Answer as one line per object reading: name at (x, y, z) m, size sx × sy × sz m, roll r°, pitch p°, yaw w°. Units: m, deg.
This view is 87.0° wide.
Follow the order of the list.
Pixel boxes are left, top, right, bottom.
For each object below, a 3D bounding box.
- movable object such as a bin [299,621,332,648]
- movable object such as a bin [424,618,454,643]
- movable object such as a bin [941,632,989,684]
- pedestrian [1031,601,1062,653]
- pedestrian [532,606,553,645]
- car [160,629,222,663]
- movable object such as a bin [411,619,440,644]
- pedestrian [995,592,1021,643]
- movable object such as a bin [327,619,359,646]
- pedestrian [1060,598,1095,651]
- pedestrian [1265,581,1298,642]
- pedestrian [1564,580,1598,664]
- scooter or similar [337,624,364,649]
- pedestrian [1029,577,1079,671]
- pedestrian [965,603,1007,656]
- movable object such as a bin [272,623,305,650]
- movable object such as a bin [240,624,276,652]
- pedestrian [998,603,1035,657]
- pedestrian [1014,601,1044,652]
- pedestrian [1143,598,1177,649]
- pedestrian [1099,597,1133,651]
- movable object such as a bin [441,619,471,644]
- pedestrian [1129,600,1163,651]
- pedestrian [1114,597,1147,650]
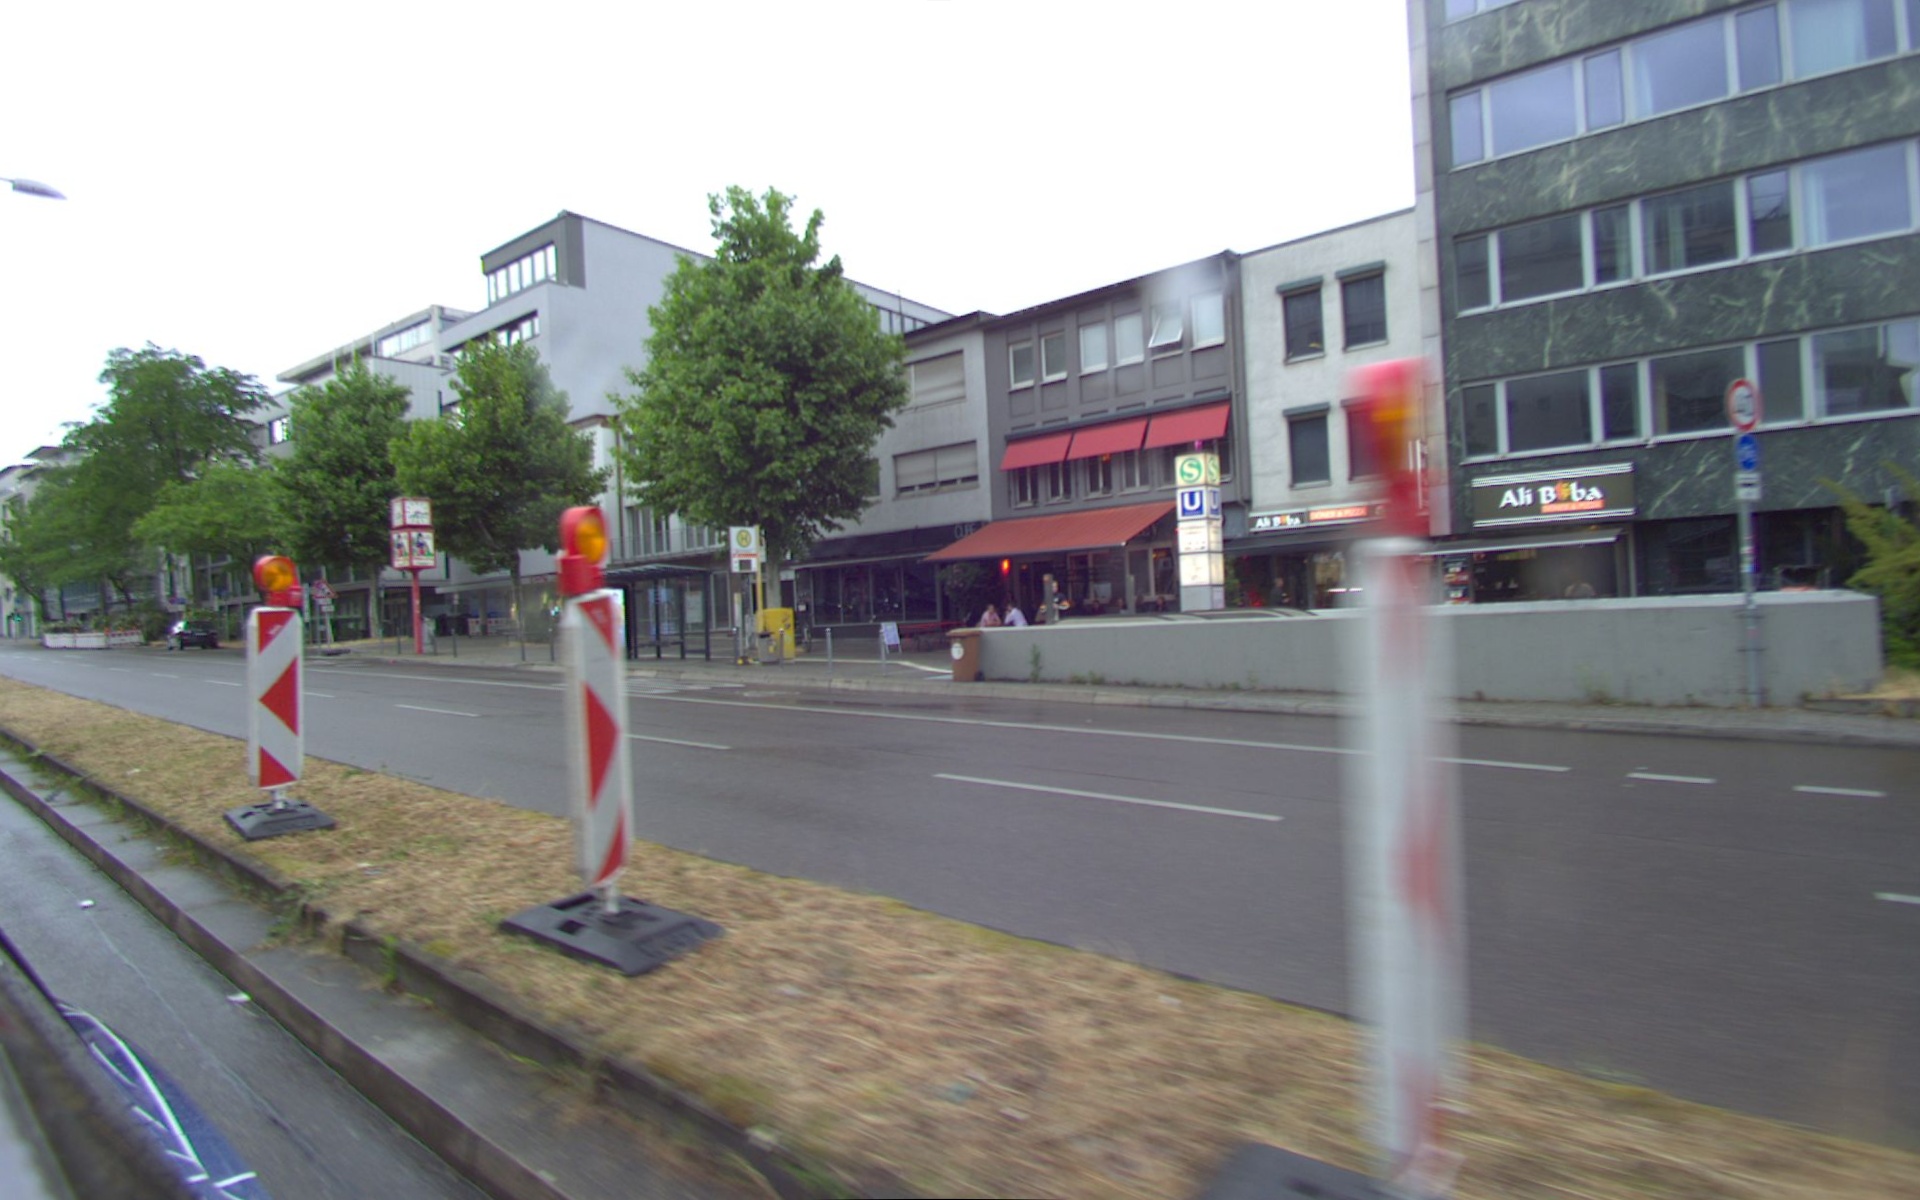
movable object such as a bin at (-36.063, 1.932, 56.632) m, size 1.088 × 1.437 × 1.265 m, roll -2°, pitch -1°, yaw 41°
movable object such as a bin at (-31.516, 1.833, 61.227) m, size 1.278 × 1.446 × 1.077 m, roll -2°, pitch -1°, yaw 32°
movable object such as a bin at (0.087, 1.024, 17.981) m, size 0.680 × 0.904 × 0.527 m, roll -2°, pitch -3°, yaw 32°
pedestrian at (2.504, 0.777, 29.408) m, size 0.582 × 1.461 × 0.683 m, roll -2°, pitch -1°, yaw 38°
pedestrian at (-19.183, 1.171, 46.476) m, size 0.653 × 1.776 × 0.688 m, roll -2°, pitch -1°, yaw 43°
car at (-41.787, 2.465, 54.990) m, size 4.019 × 1.648 × 1.761 m, roll 0°, pitch 1°, yaw 39°
movable object such as a bin at (-32.800, 1.927, 62.085) m, size 1.278 × 1.446 × 1.077 m, roll -2°, pitch -1°, yaw 32°
pedestrian at (1.508, 0.544, 31.832) m, size 0.603 × 1.582 × 0.591 m, roll -2°, pitch -1°, yaw 31°
movable object such as a bin at (-35.172, 1.850, 57.685) m, size 1.088 × 1.499 × 1.265 m, roll -2°, pitch -1°, yaw 41°
pedestrian at (3.342, 0.693, 28.784) m, size 0.690 × 1.461 × 0.720 m, roll -2°, pitch -1°, yaw 34°
pedestrian at (7.821, 0.282, 24.631) m, size 0.587 × 1.461 × 0.597 m, roll -2°, pitch -1°, yaw 36°
pedestrian at (14.287, 0.505, 23.276) m, size 0.590 × 1.899 × 0.749 m, roll -2°, pitch -1°, yaw 34°
scooter or similar at (-30.922, 1.861, 51.327) m, size 1.323 × 1.130 × 0.767 m, roll -6°, pitch -1°, yaw 42°
pedestrian at (1.943, 0.494, 20.914) m, size 0.757 × 1.899 × 0.683 m, roll -2°, pitch -1°, yaw 37°
pedestrian at (0.733, 0.819, 28.628) m, size 0.912 × 1.461 × 0.683 m, roll -2°, pitch -1°, yaw 37°
movable object such as a bin at (-36.901, 2.020, 55.590) m, size 1.088 × 1.437 × 1.265 m, roll -2°, pitch -1°, yaw 41°
movable object such as a bin at (-37.815, 2.020, 54.499) m, size 1.088 × 1.437 × 1.345 m, roll -2°, pitch -1°, yaw 41°
pedestrian at (1.563, 0.825, 28.009) m, size 0.707 × 1.461 × 0.683 m, roll -2°, pitch -1°, yaw 37°
pedestrian at (2.037, 0.771, 29.851) m, size 0.546 × 1.461 × 0.683 m, roll -2°, pitch -1°, yaw 37°
pedestrian at (5.511, 0.640, 27.914) m, size 0.690 × 1.366 × 0.627 m, roll -2°, pitch -1°, yaw 34°
pedestrian at (4.274, 0.661, 27.755) m, size 0.690 × 1.461 × 0.627 m, roll -2°, pitch -1°, yaw 34°
movable object such as a bin at (-30.213, 1.883, 60.632) m, size 1.278 × 1.446 × 1.077 m, roll -2°, pitch -1°, yaw 32°
pedestrian at (5.019, 0.693, 27.303) m, size 0.690 × 1.354 × 0.627 m, roll -2°, pitch -1°, yaw 34°
pedestrian at (4.802, 0.661, 28.476) m, size 0.690 × 1.461 × 0.627 m, roll -2°, pitch -1°, yaw 34°
